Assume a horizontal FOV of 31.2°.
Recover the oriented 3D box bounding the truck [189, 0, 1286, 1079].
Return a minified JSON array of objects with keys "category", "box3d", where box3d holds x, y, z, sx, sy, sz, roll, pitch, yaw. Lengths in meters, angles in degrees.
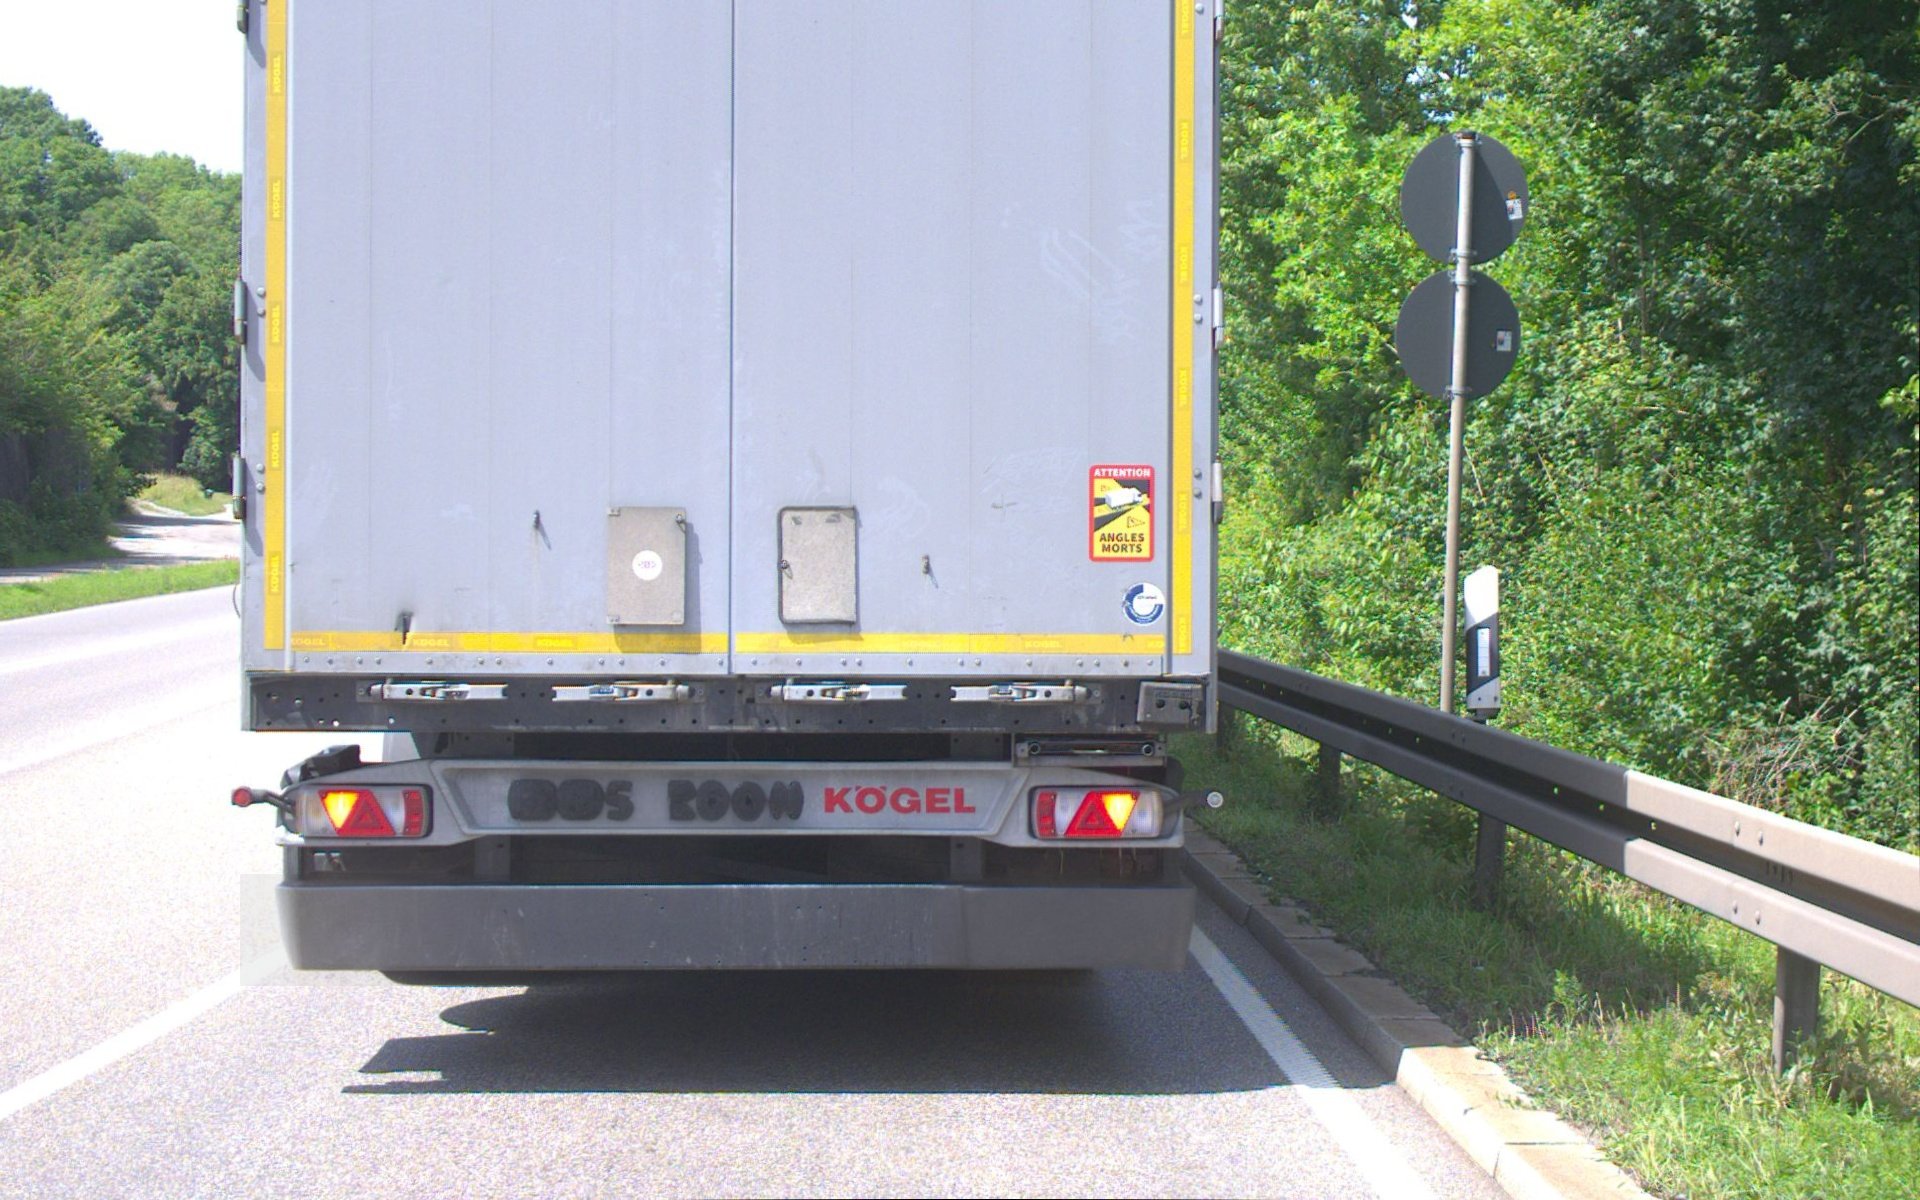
[{"category":"truck","box3d":[-0.705,-0.932,14.652,2.757,4.016,11.925,0,1,-1]}]
